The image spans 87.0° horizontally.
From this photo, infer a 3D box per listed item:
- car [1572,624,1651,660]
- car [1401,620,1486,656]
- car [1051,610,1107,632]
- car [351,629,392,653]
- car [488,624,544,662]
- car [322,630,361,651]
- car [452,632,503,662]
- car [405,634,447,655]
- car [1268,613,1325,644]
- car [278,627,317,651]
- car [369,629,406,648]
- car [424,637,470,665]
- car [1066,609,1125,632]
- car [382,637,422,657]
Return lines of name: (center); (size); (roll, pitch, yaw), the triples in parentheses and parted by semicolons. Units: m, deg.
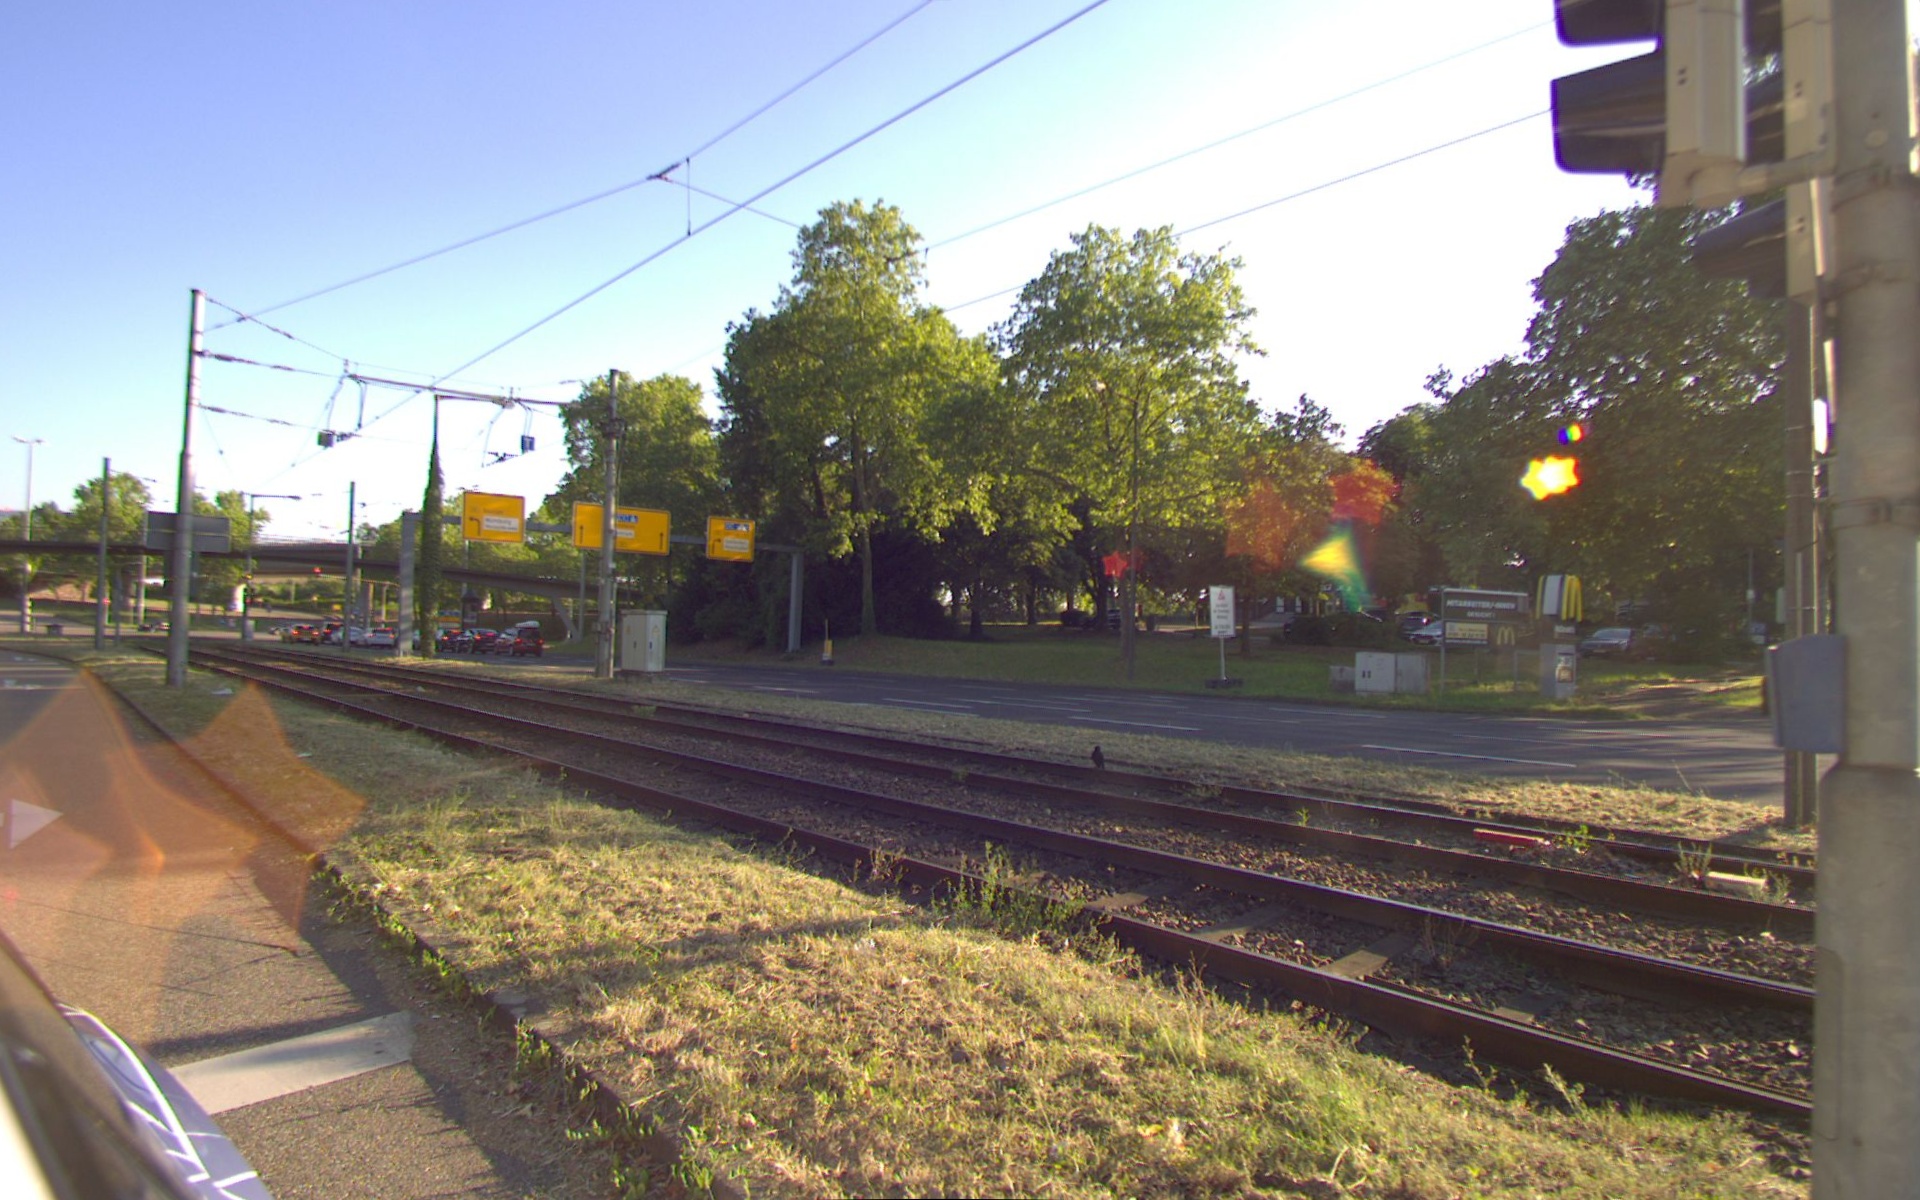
car: (30.065, 1.906, 46.632); (4.335, 1.586, 2.046); (2, -2, -43)
car: (24.937, 1.932, 52.139); (4.820, 1.719, 2.004); (1, -2, -38)
car: (9.040, 1.613, 76.937); (3.931, 1.564, 1.813); (1, -2, -28)
car: (-41.220, 2.876, 70.835); (1.642, 1.577, 4.195); (1, -2, -42)
car: (-26.299, 2.496, 59.883); (1.771, 2.121, 4.004); (2, -2, -43)
car: (-46.304, 3.025, 75.733); (1.720, 1.443, 4.418); (5, -4, -40)
car: (-30.646, 2.966, 64.222); (1.771, 1.763, 4.246); (1, -2, -42)
car: (-39.705, 3.301, 75.226); (1.771, 1.493, 4.004); (2, -2, -42)
car: (19.394, 1.624, 58.257); (1.826, 1.701, 4.170); (-1, -2, 39)
car: (-46.191, 2.671, 70.511); (1.643, 1.577, 4.004); (1, -2, -42)
car: (-47.424, 3.157, 83.834); (1.771, 1.453, 4.004); (2, -2, -42)
car: (-34.980, 3.461, 69.026); (1.771, 1.763, 4.004); (2, -2, -42)
car: (9.392, 1.425, 70.009); (3.935, 1.564, 1.811); (2, -2, -37)
car: (-44.077, 3.697, 79.896); (1.771, 1.393, 4.481); (1, -2, -42)
